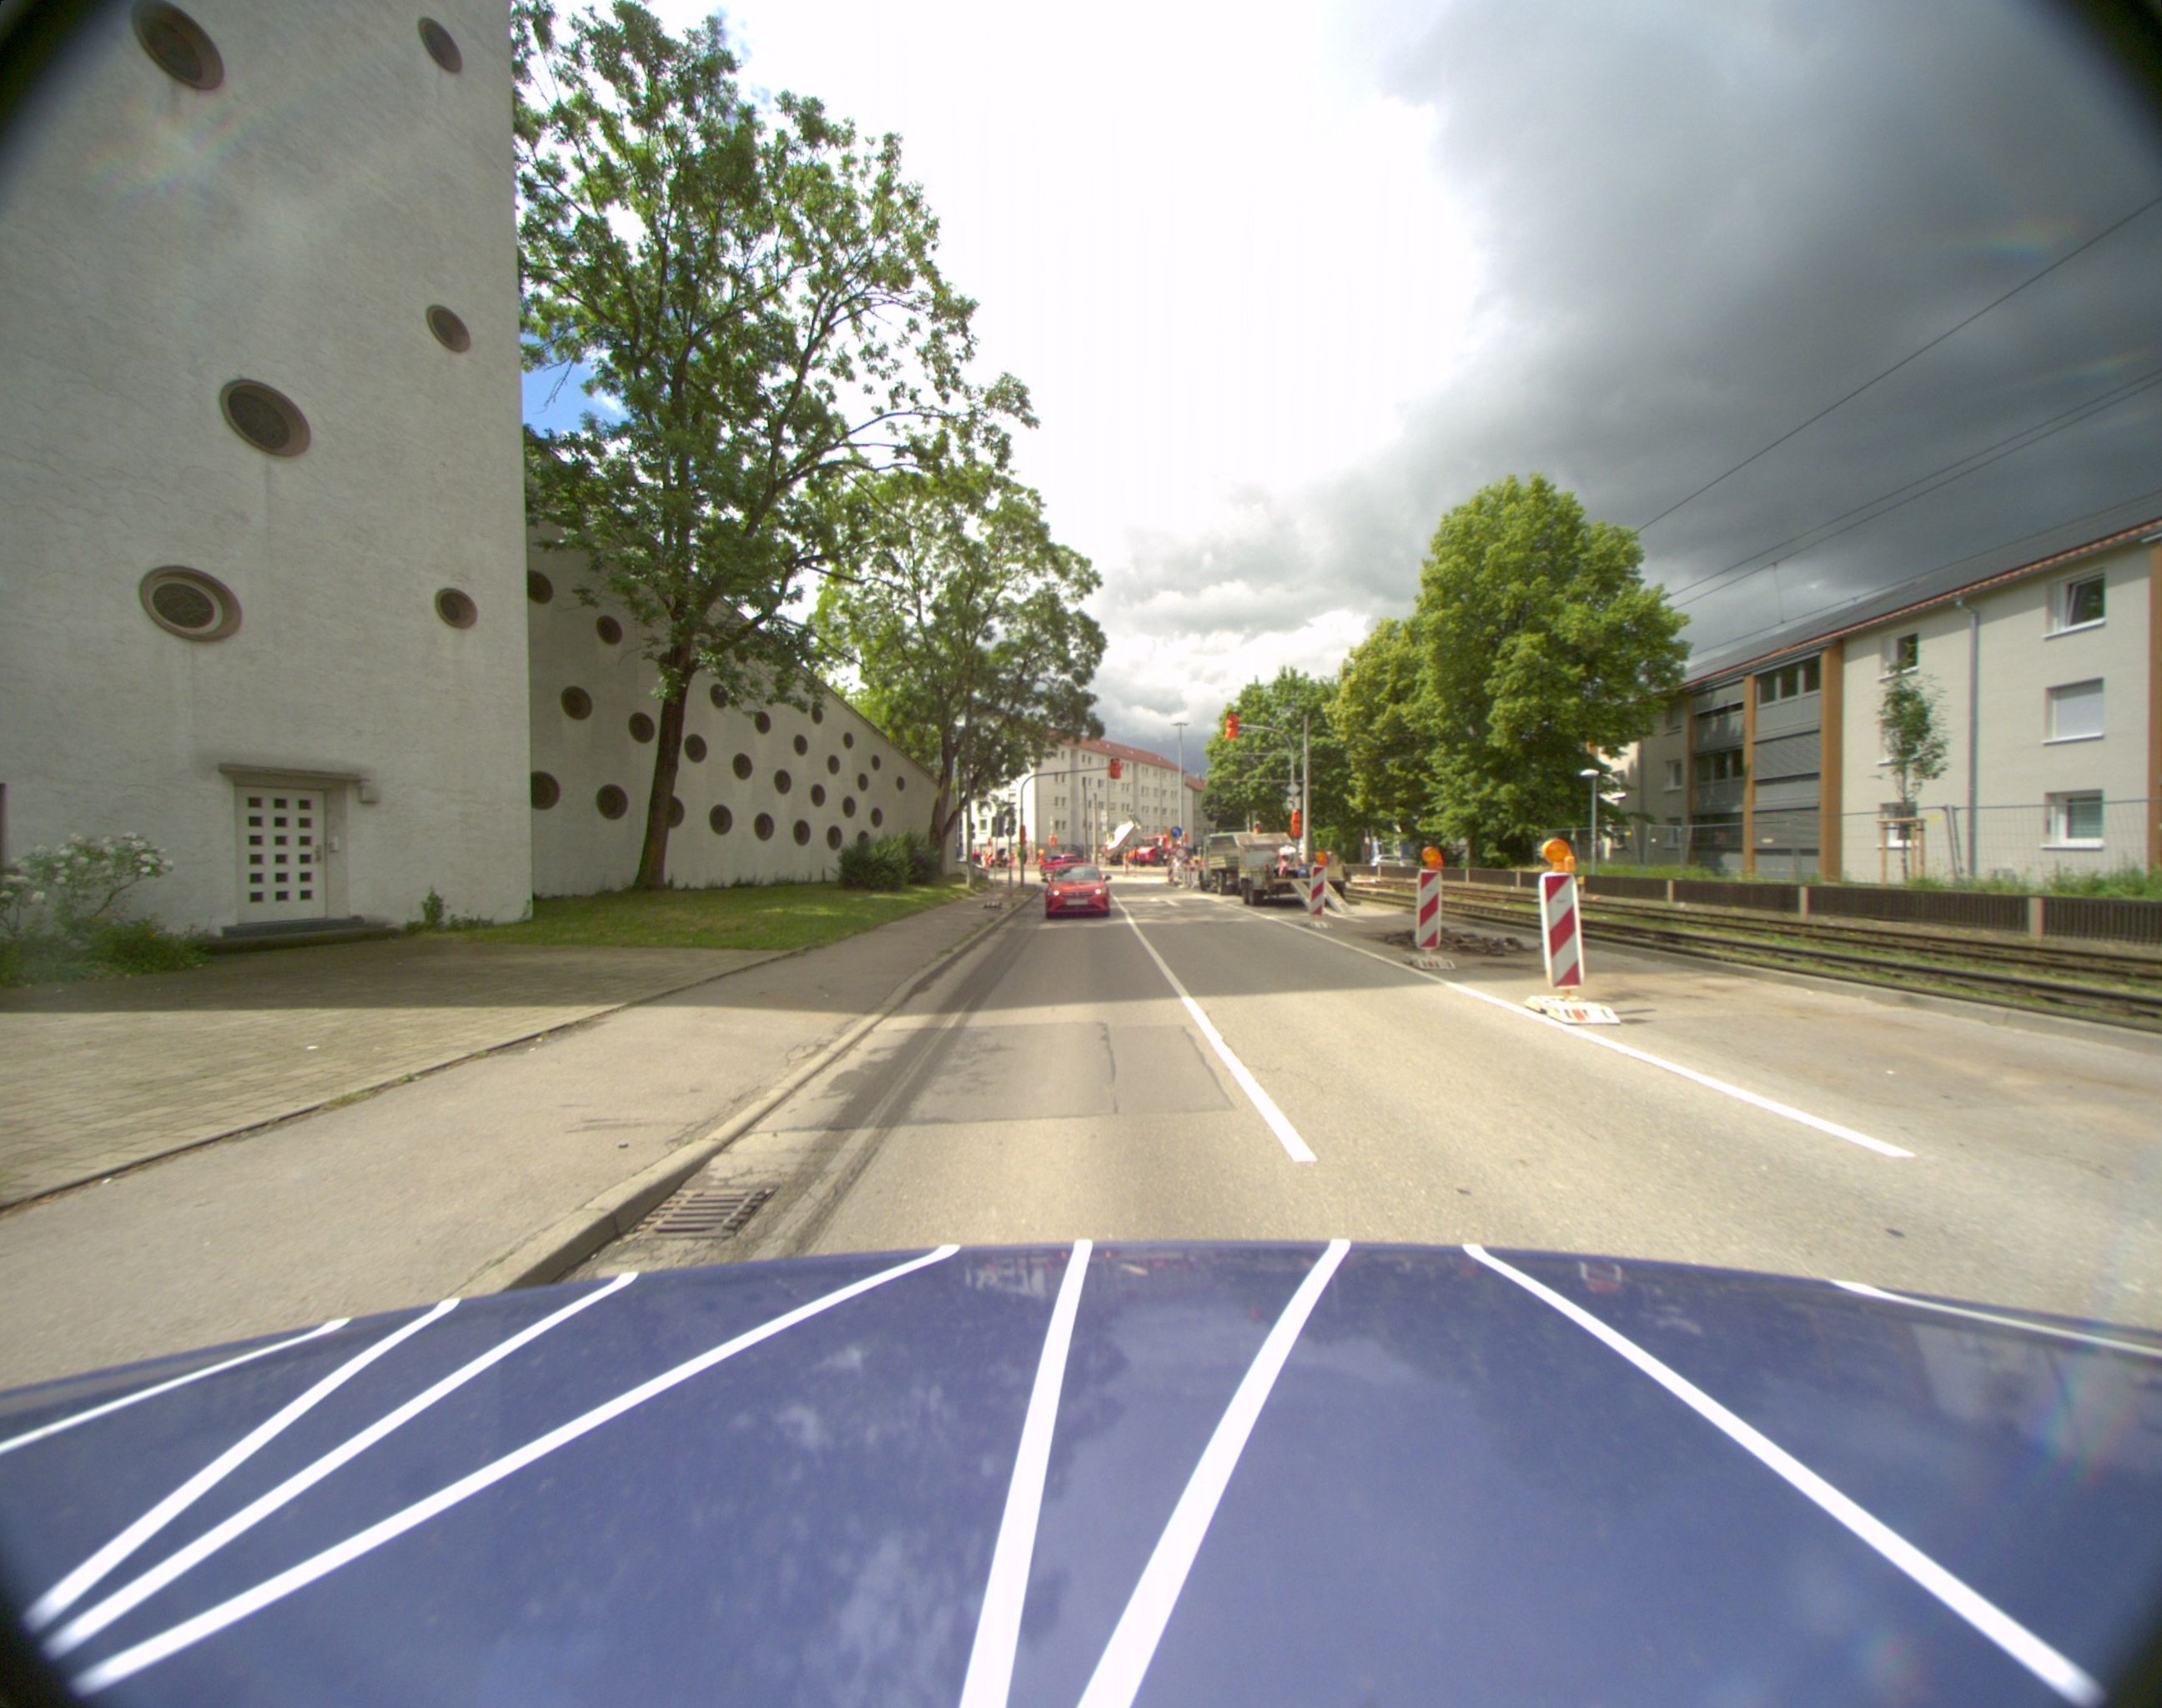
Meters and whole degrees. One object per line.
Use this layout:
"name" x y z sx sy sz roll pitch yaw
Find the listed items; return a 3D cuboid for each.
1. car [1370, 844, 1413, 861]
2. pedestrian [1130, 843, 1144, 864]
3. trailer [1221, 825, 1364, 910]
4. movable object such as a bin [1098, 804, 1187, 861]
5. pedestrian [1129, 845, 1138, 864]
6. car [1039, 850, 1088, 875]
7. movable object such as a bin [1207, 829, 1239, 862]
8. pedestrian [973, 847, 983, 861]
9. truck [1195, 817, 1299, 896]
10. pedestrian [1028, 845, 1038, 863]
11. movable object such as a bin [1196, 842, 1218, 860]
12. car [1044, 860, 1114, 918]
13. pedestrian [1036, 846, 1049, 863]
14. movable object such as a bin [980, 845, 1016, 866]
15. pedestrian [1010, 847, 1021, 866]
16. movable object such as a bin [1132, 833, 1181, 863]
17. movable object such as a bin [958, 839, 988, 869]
"car" 26.657 -0.155 65.284 3.197 1.446 1.566 0 0 15
"pedestrian" 4.911 -0.049 66.626 0.797 1.822 0.969 -2 2 -32
"trailer" 6.316 0.326 23.730 2.669 2.201 6.246 -2 1 0
"movable object such as a bin" 6.238 -2.048 76.074 9.052 5.453 2.814 0 0 -34
"pedestrian" 4.987 0.059 71.896 0.611 1.778 0.583 -2 0 32
"car" -1.311 0.622 54.656 1.851 1.608 4.233 -3 0 -27
"movable object such as a bin" 20.701 -1.185 110.386 2.819 4.509 6.221 0 0 28
"pedestrian" -9.070 0.007 67.004 0.615 1.209 0.552 0 1 39
"truck" 6.354 0.032 30.078 2.669 2.709 6.394 -2 1 0
"pedestrian" -4.995 -0.013 79.172 0.881 1.897 0.666 -1 2 -17
"movable object such as a bin" 16.964 -0.345 102.157 1.995 2.395 4.006 0 0 22
"car" 0.035 0.947 22.254 1.769 1.425 3.839 -3 0 3
"pedestrian" -3.973 0.051 78.294 0.872 1.813 1.098 0 1 28
"movable object such as a bin" -8.273 0.127 75.274 2.959 2.002 2.004 0 0 38
"pedestrian" -6.354 0.203 74.157 0.767 1.828 0.785 0 1 26
"movable object such as a bin" 6.995 -0.617 69.738 2.110 2.653 5.598 0 2 34
"movable object such as a bin" -9.613 -0.012 67.703 2.355 2.579 1.323 0 2 39
